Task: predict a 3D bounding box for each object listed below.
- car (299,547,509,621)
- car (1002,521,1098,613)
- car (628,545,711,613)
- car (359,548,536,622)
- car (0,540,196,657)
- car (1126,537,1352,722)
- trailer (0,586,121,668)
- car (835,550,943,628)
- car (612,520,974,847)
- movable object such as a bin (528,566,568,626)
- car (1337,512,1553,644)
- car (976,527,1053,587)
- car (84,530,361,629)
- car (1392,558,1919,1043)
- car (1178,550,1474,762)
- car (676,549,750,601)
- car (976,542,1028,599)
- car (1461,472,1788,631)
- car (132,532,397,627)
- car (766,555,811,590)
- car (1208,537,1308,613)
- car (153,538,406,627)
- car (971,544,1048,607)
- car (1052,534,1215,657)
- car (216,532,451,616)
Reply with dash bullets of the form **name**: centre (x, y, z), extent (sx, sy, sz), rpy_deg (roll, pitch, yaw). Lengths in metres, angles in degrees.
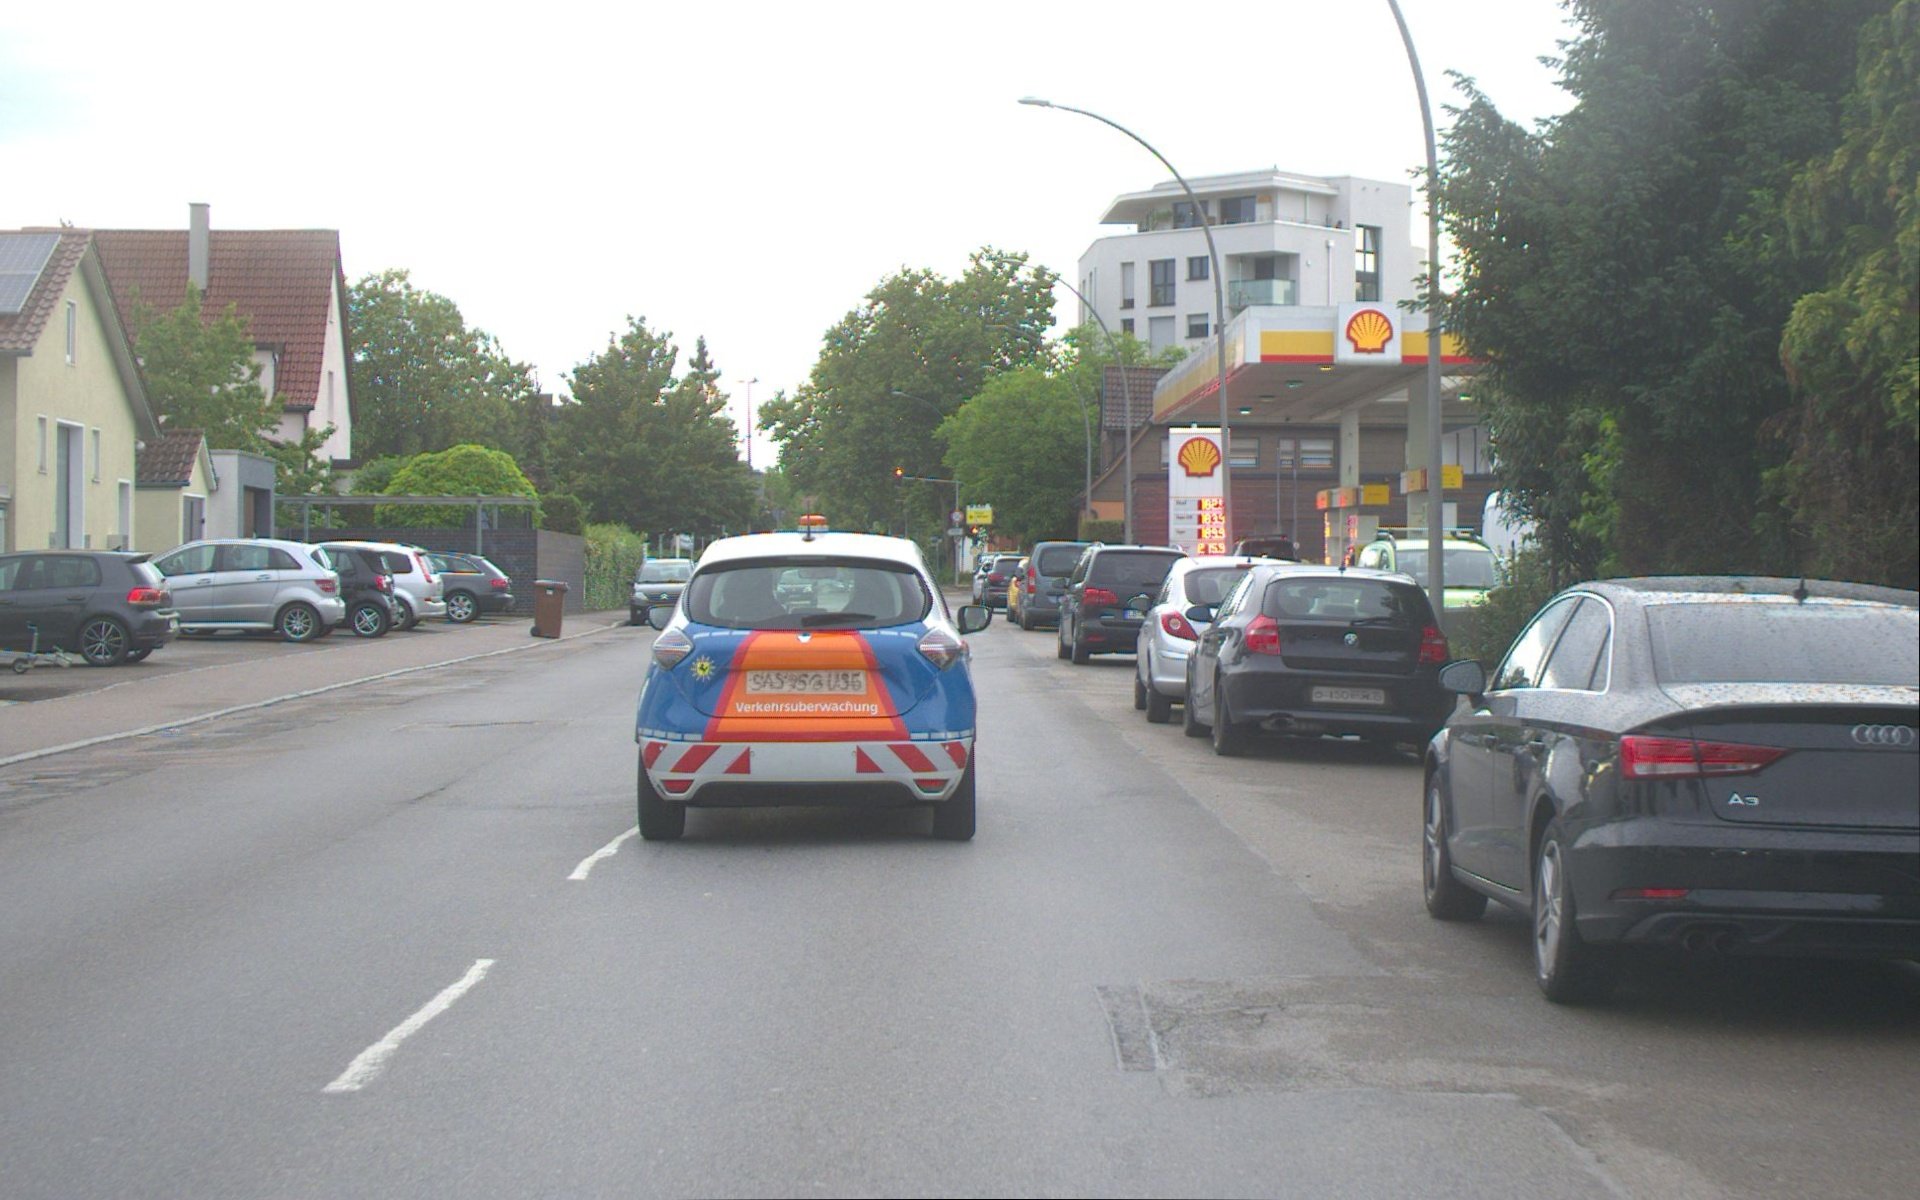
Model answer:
- **car**: centre (-11.375, -0.329, 70.495), extent (4.083, 1.409, 1.714), rpy_deg (1, 1, -3)
- **car**: centre (1.772, -0.667, 69.025), extent (1.656, 1.732, 4.445), rpy_deg (3, 1, -1)
- **car**: centre (-6.670, -0.493, 79.259), extent (1.608, 1.501, 3.707), rpy_deg (-1, 1, 0)
- **car**: centre (-10.907, -0.323, 73.362), extent (3.584, 1.452, 1.757), rpy_deg (2, 0, -5)
- **car**: centre (-11.827, -0.031, 43.659), extent (3.873, 1.433, 1.768), rpy_deg (0, 1, -1)
- **car**: centre (2.452, 0.218, 31.009), extent (1.737, 1.497, 3.881), rpy_deg (2, 1, 1)
- **trailer**: centre (-12.312, 0.311, 41.059), extent (4.196, 0.939, 1.795), rpy_deg (0, 1, -3)
- **car**: centre (-1.527, -0.258, 75.196), extent (1.994, 1.568, 4.000), rpy_deg (2, 2, 4)
- **car**: centre (-0.830, 0.363, 18.640), extent (1.746, 1.575, 4.000), rpy_deg (0, 1, -1)
- **movable object such as a bin**: centre (-7.730, -0.081, 64.496), extent (0.595, 1.053, 0.687), rpy_deg (5, 2, 0)
- **car**: centre (6.391, -0.317, 45.721), extent (1.993, 1.677, 4.001), rpy_deg (0, 1, -5)
- **car**: centre (1.568, -1.279, 100.485), extent (2.091, 1.656, 4.559), rpy_deg (1, 2, -1)
- **car**: centre (-11.585, -0.330, 54.213), extent (4.083, 1.527, 2.000), rpy_deg (0, 1, -6)
- **car**: centre (2.715, 0.579, 12.395), extent (1.751, 1.413, 4.110), rpy_deg (0, 1, -1)
- **car**: centre (2.677, 0.363, 25.886), extent (1.737, 1.398, 3.719), rpy_deg (2, 1, -1)
- **car**: centre (-6.982, -0.715, 97.453), extent (1.807, 1.398, 3.945), rpy_deg (-1, 1, 0)
- **car**: centre (1.591, -1.123, 128.246), extent (1.778, 2.022, 4.754), rpy_deg (1, 2, 2)
- **car**: centre (10.884, -0.798, 56.336), extent (4.787, 2.512, 2.248), rpy_deg (0, 1, -22)
- **car**: centre (-11.410, -0.351, 56.601), extent (4.083, 1.527, 1.814), rpy_deg (0, 1, -4)
- **car**: centre (-7.163, -1.155, 144.202), extent (1.626, 1.428, 3.683), rpy_deg (0, 1, 1)
- **car**: centre (7.043, -0.616, 81.515), extent (1.819, 1.753, 4.001), rpy_deg (0, 1, -3)
- **car**: centre (-11.545, -0.309, 58.545), extent (4.083, 1.498, 1.757), rpy_deg (0, 1, -6)
- **car**: centre (1.115, -0.580, 79.185), extent (1.656, 1.397, 3.802), rpy_deg (0, 1, -1)
- **car**: centre (2.336, -0.098, 47.191), extent (1.993, 1.590, 4.000), rpy_deg (0, 1, -1)
- **car**: centre (-11.338, -0.479, 62.441), extent (4.083, 1.508, 1.884), rpy_deg (0, 1, -6)
